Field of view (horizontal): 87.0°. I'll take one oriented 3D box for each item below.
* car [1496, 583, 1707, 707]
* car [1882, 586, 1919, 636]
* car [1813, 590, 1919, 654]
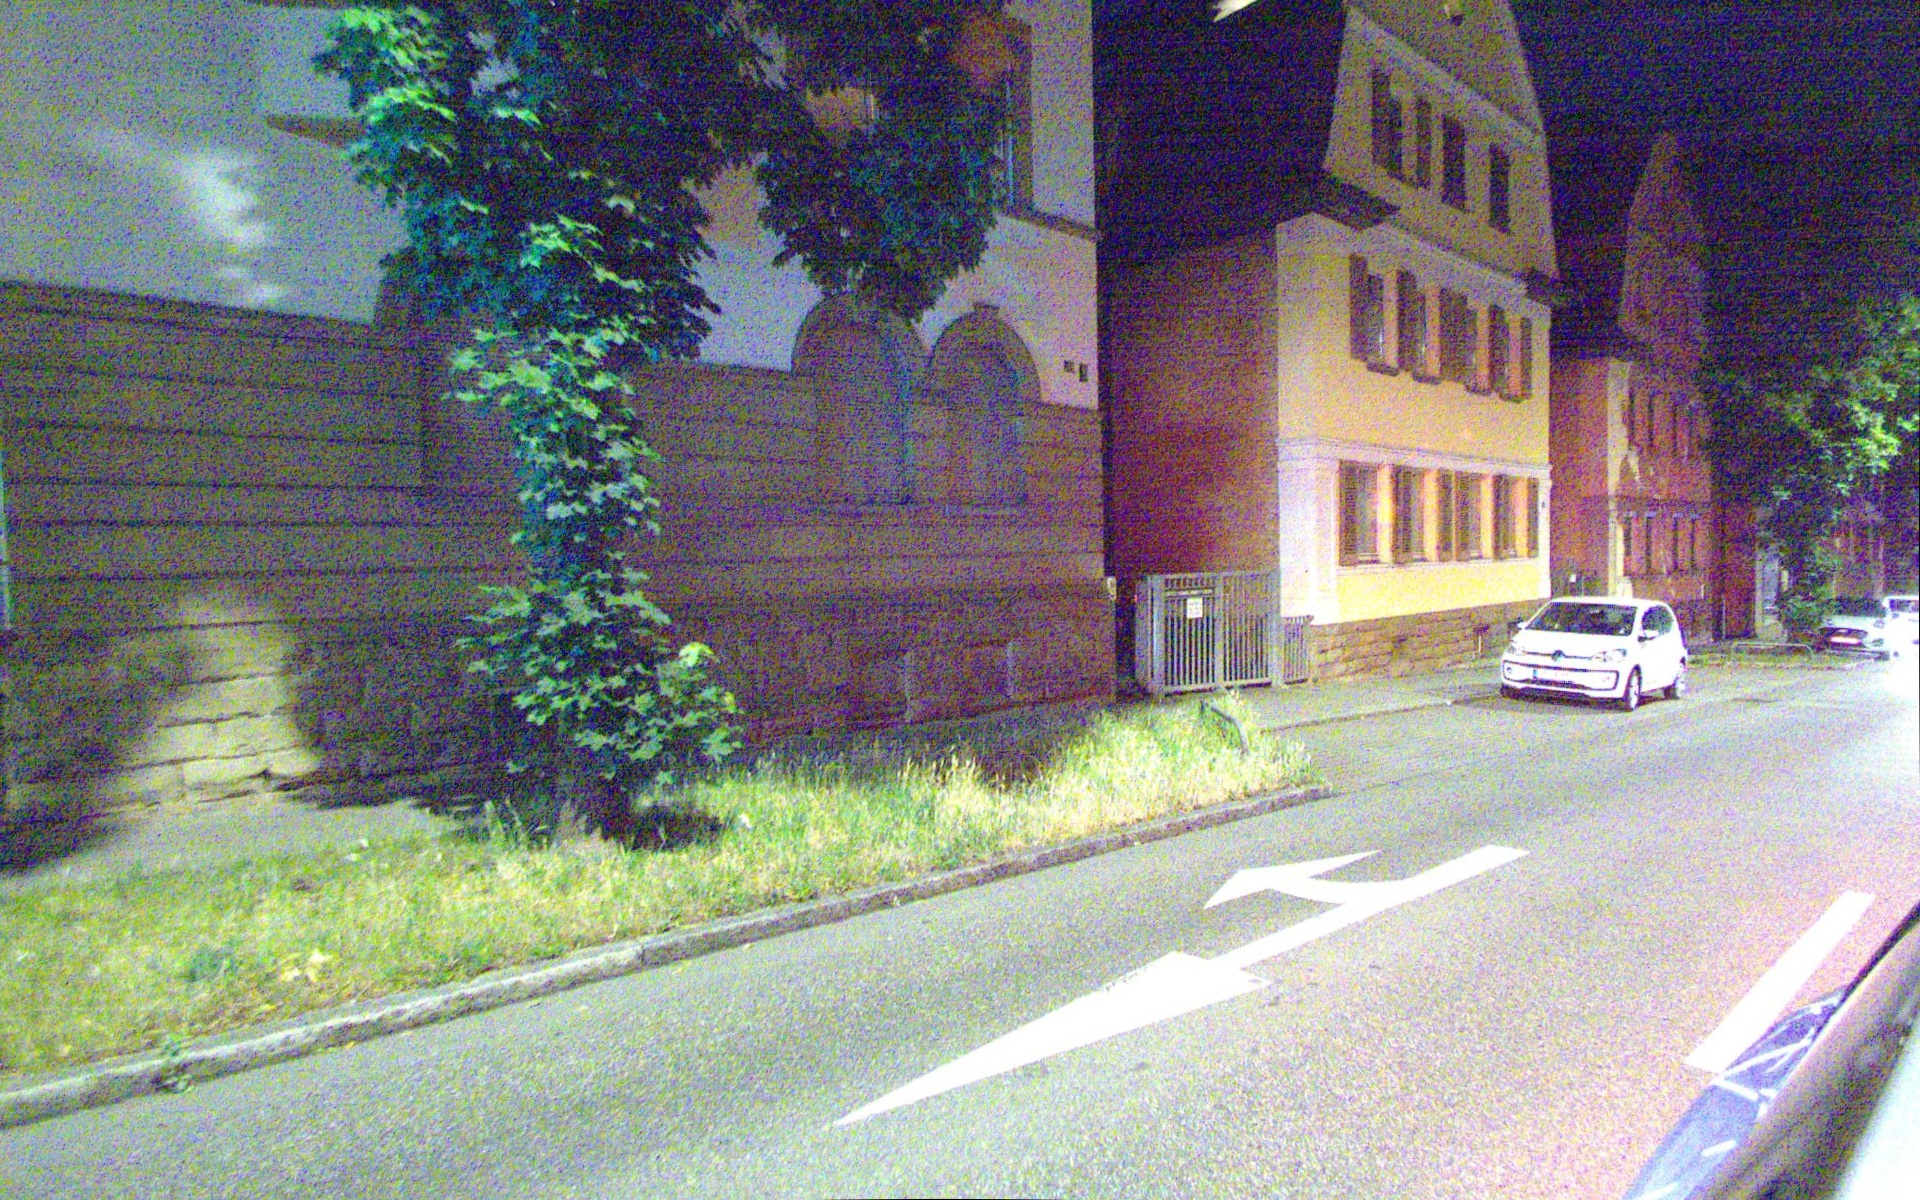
[{"bbox_3d":[9.271,0.558,14.552,3.425,1.527,1.610,0,2,-41],"label":"car"},{"bbox_3d":[33.547,0.373,35.145,4.107,1.673,1.850,0,0,-42],"label":"car"},{"bbox_3d":[23.624,0.512,26.287,3.824,1.516,1.740,0,2,-43],"label":"car"}]
